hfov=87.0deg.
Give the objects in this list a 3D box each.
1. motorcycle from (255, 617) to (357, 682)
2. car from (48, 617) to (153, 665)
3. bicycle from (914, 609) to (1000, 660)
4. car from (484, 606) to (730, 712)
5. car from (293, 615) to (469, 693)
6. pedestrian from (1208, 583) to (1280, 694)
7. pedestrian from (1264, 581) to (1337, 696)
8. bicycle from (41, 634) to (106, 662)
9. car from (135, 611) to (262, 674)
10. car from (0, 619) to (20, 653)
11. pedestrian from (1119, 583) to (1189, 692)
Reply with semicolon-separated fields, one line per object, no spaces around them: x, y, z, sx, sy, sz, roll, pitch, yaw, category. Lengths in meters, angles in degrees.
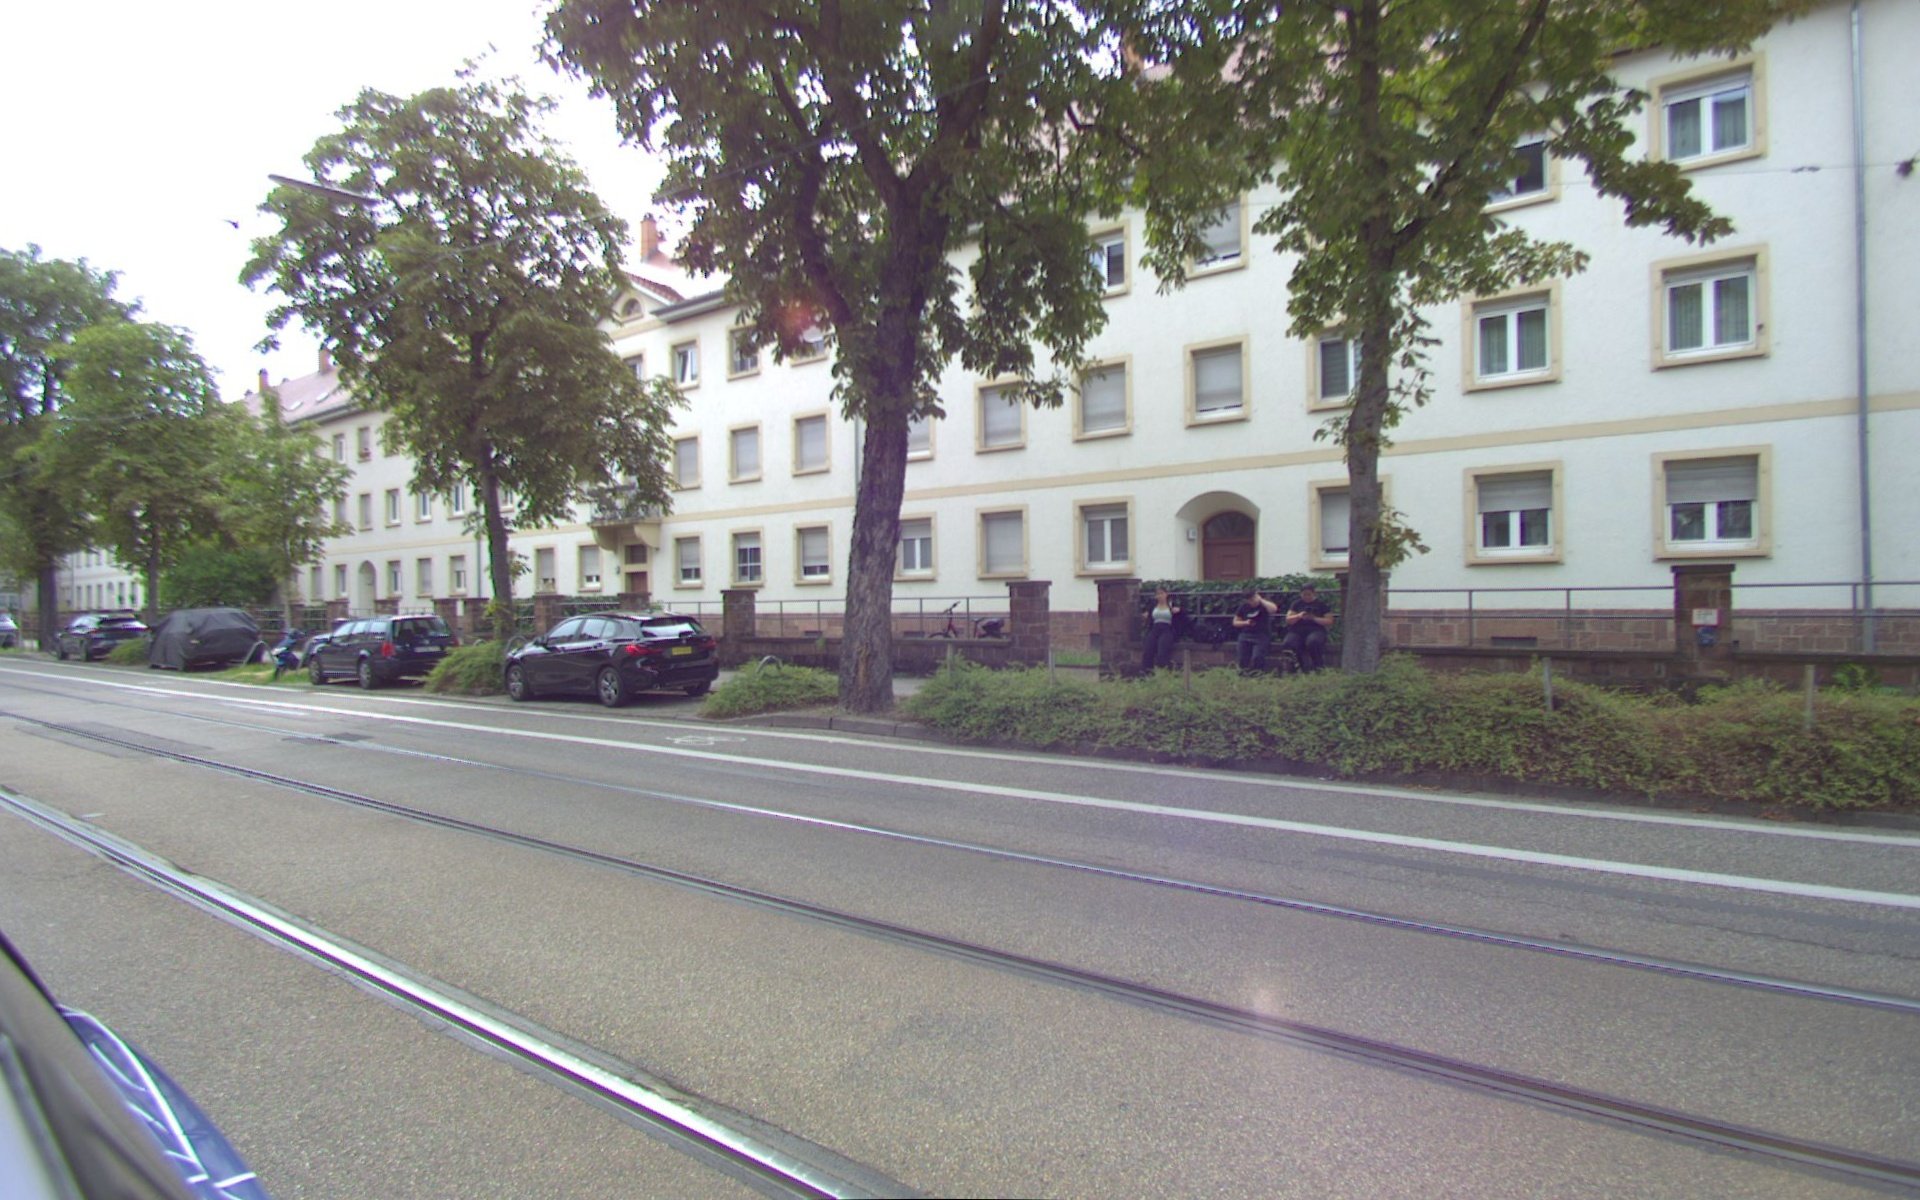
-15.391;1.143;23.860;0.590;1.269;1.852;-1;5;33;motorcycle
-28.851;1.344;33.924;4.290;1.481;1.682;-1;-1;35;car
-0.069;0.617;18.141;1.548;0.869;0.504;-1;-1;38;bicycle
-5.875;0.893;16.621;4.293;1.434;1.681;-1;3;37;car
-12.309;1.093;21.423;4.293;1.434;1.681;-1;1;37;car
3.908;0.513;13.910;0.730;1.476;0.826;-1;-1;32;pedestrian
4.543;0.500;13.496;0.730;1.476;0.826;-1;-1;32;pedestrian
-32.378;1.744;36.995;0.670;0.978;1.656;-1;-1;28;bicycle
-21.414;1.148;28.399;4.293;1.624;1.769;-1;-1;37;car
-44.116;1.642;45.632;4.290;1.481;1.682;-1;0;35;car
2.818;0.526;14.685;0.730;1.524;0.826;-1;-1;32;pedestrian
